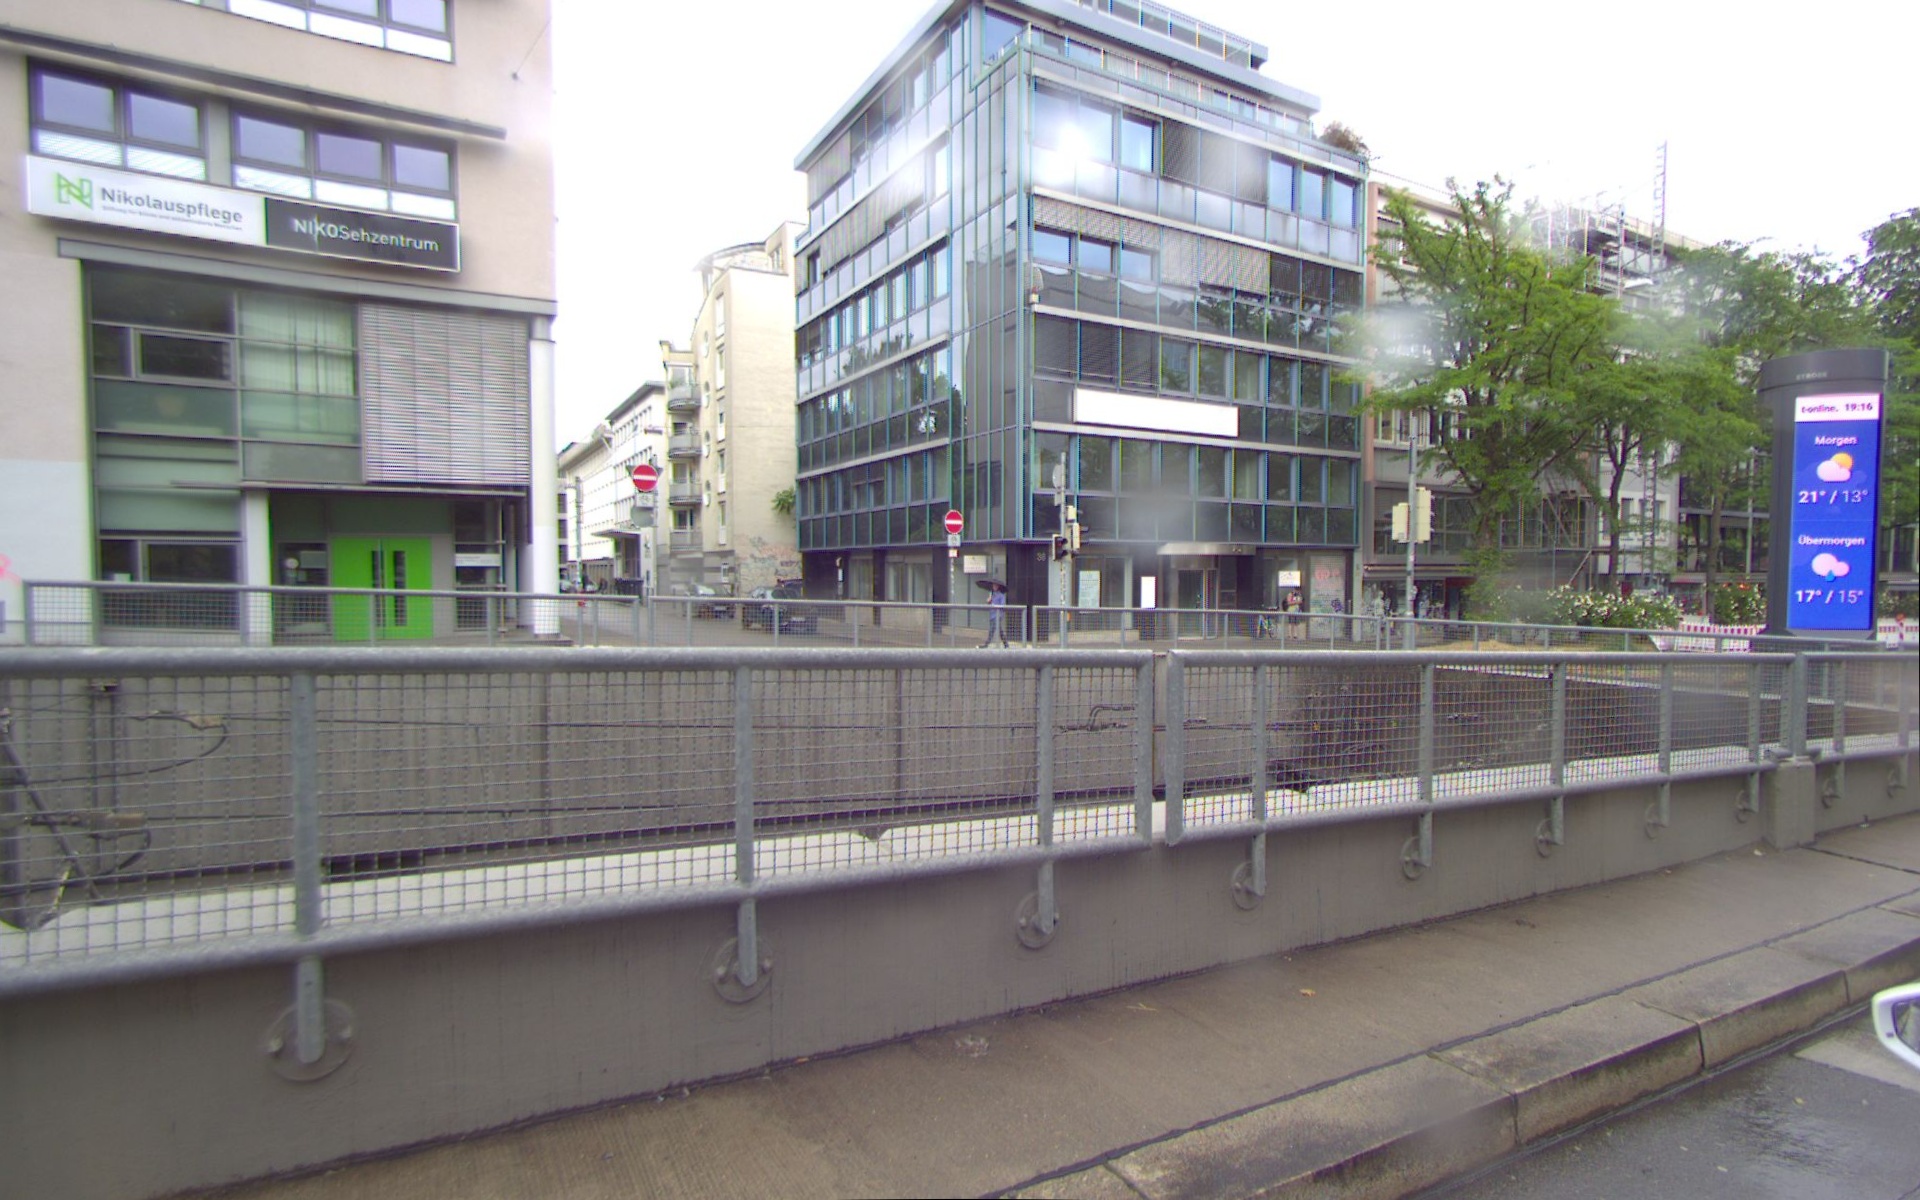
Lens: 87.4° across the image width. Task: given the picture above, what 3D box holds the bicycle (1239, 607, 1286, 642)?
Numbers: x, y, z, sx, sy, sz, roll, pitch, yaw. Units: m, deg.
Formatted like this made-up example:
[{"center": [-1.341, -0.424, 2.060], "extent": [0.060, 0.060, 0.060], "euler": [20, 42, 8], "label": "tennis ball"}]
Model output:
[{"center": [9.859, 0.791, 32.717], "extent": [1.544, 1.100, 0.444], "euler": [1, 1, -27], "label": "bicycle"}]

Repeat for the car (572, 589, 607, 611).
[{"center": [-28.051, -0.001, 75.988], "extent": [1.777, 1.578, 3.967], "euler": [1, 0, -30], "label": "car"}]

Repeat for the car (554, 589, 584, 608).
[{"center": [-33.862, -0.126, 86.991], "extent": [1.777, 1.578, 3.967], "euler": [1, 0, -30], "label": "car"}]

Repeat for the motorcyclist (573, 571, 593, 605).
[{"center": [-20.609, -0.659, 54.928], "extent": [0.850, 1.832, 1.007], "euler": [1, 2, -29], "label": "motorcyclist"}]

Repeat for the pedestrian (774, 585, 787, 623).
[{"center": [-8.037, 0.180, 44.996], "extent": [0.443, 1.664, 0.326], "euler": [1, 2, -35], "label": "pedestrian"}]

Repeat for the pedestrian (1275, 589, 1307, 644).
[{"center": [10.939, 0.550, 33.225], "extent": [0.688, 1.765, 0.691], "euler": [1, 2, -35], "label": "pedestrian"}]

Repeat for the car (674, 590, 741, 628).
[{"center": [-11.115, 0.364, 44.105], "extent": [1.777, 1.578, 3.966], "euler": [1, 0, -31], "label": "car"}]

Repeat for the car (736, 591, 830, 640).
[{"center": [-6.250, 0.504, 35.167], "extent": [1.977, 1.578, 3.966], "euler": [1, 0, -31], "label": "car"}]

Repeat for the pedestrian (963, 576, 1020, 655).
[{"center": [0.770, 0.365, 24.556], "extent": [1.047, 1.863, 0.853], "euler": [1, 2, -30], "label": "pedestrian"}]

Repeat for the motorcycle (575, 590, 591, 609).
[{"center": [-20.624, -0.012, 54.956], "extent": [0.696, 0.984, 0.977], "euler": [1, 2, -29], "label": "motorcycle"}]
